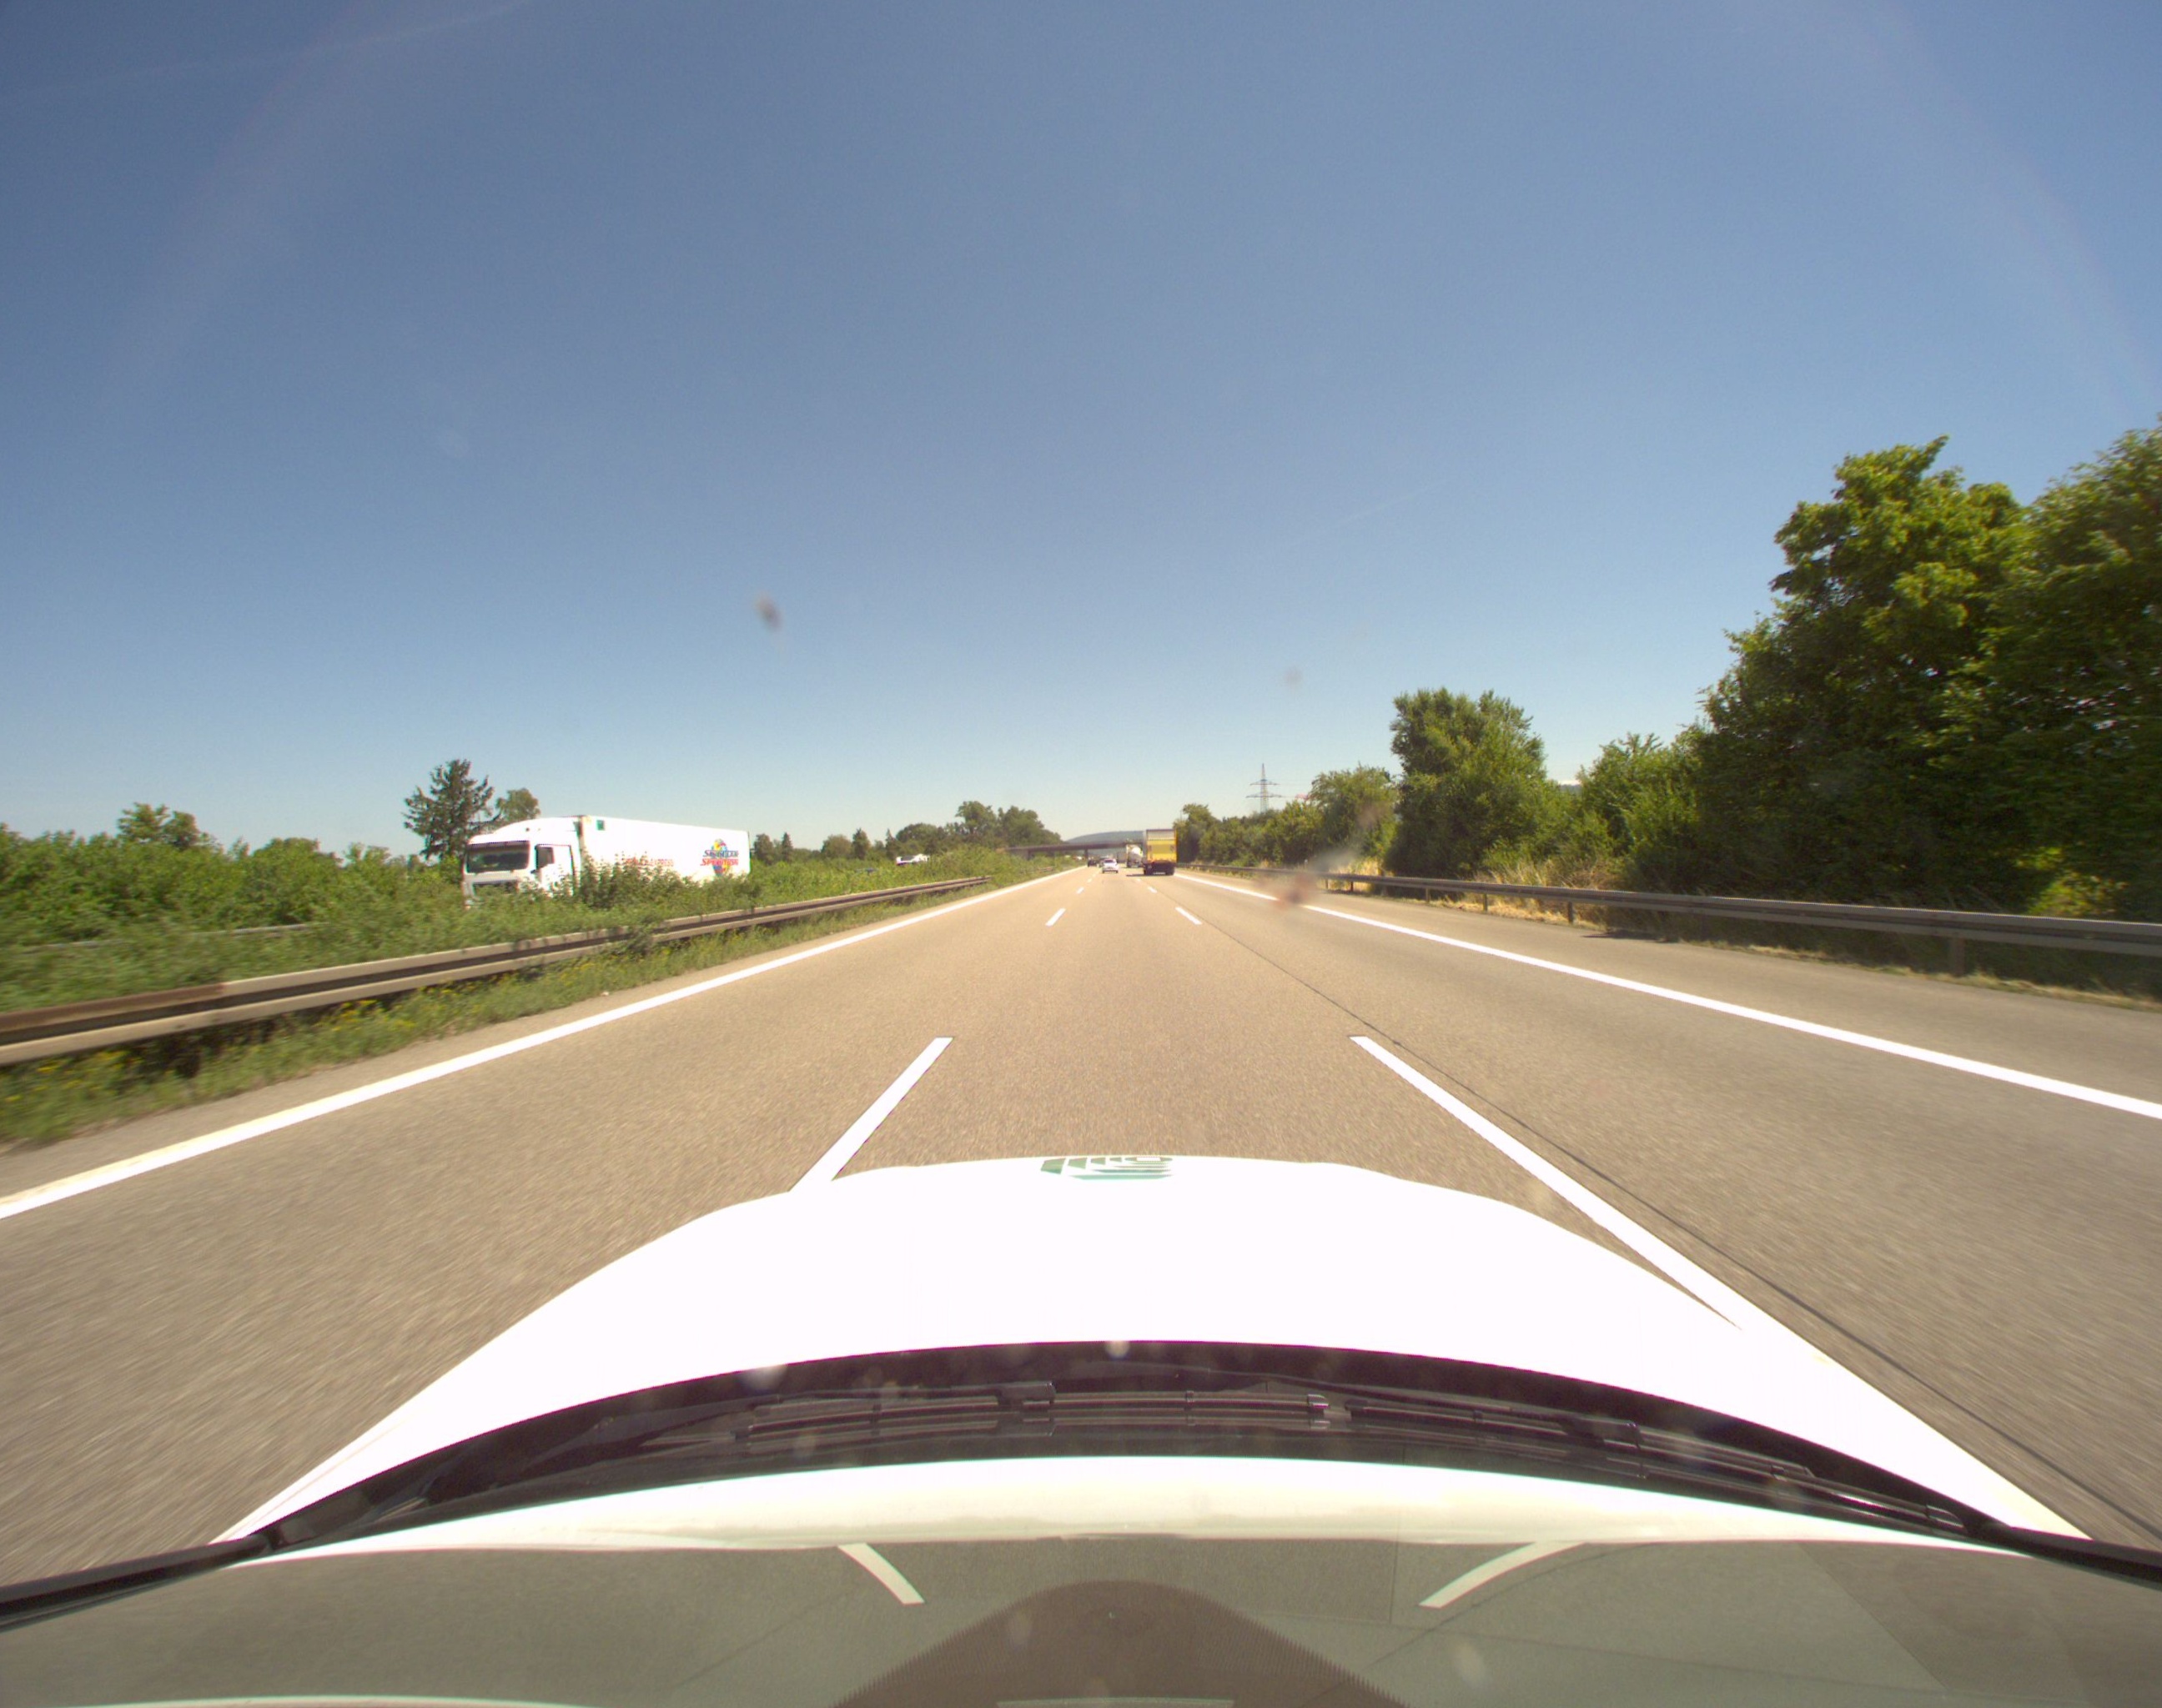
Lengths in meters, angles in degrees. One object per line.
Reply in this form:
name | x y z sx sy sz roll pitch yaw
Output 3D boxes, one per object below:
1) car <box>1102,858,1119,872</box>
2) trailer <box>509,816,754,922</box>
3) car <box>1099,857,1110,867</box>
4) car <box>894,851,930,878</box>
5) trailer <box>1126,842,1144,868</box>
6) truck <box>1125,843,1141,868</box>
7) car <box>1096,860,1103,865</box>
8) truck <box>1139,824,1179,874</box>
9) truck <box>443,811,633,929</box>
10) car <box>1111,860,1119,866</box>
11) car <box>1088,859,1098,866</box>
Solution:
car | 3.192 1.195 87.525 1.799 1.468 4.002 0 0 2
trailer | -19.219 0.584 36.739 2.922 3.870 13.915 0 0 2
car | 4.112 1.399 141.569 1.844 1.633 4.002 0 0 2
car | -17.348 1.058 83.954 2.461 2.708 5.521 0 0 2
trailer | 8.820 0.231 135.143 2.570 4.074 11.106 0 0 2
truck | 8.957 0.263 139.984 2.563 4.072 6.394 0 0 2
car | 5.311 2.336 228.815 1.828 1.386 4.002 0 0 2
truck | 6.941 -0.407 74.147 2.922 4.200 10.685 0 0 2
truck | -19.448 0.537 29.664 2.922 3.870 5.754 0 0 2
car | 7.806 2.094 186.371 1.828 1.386 4.002 0 0 2
car | 2.336 1.727 159.022 1.828 1.386 4.002 0 0 2
